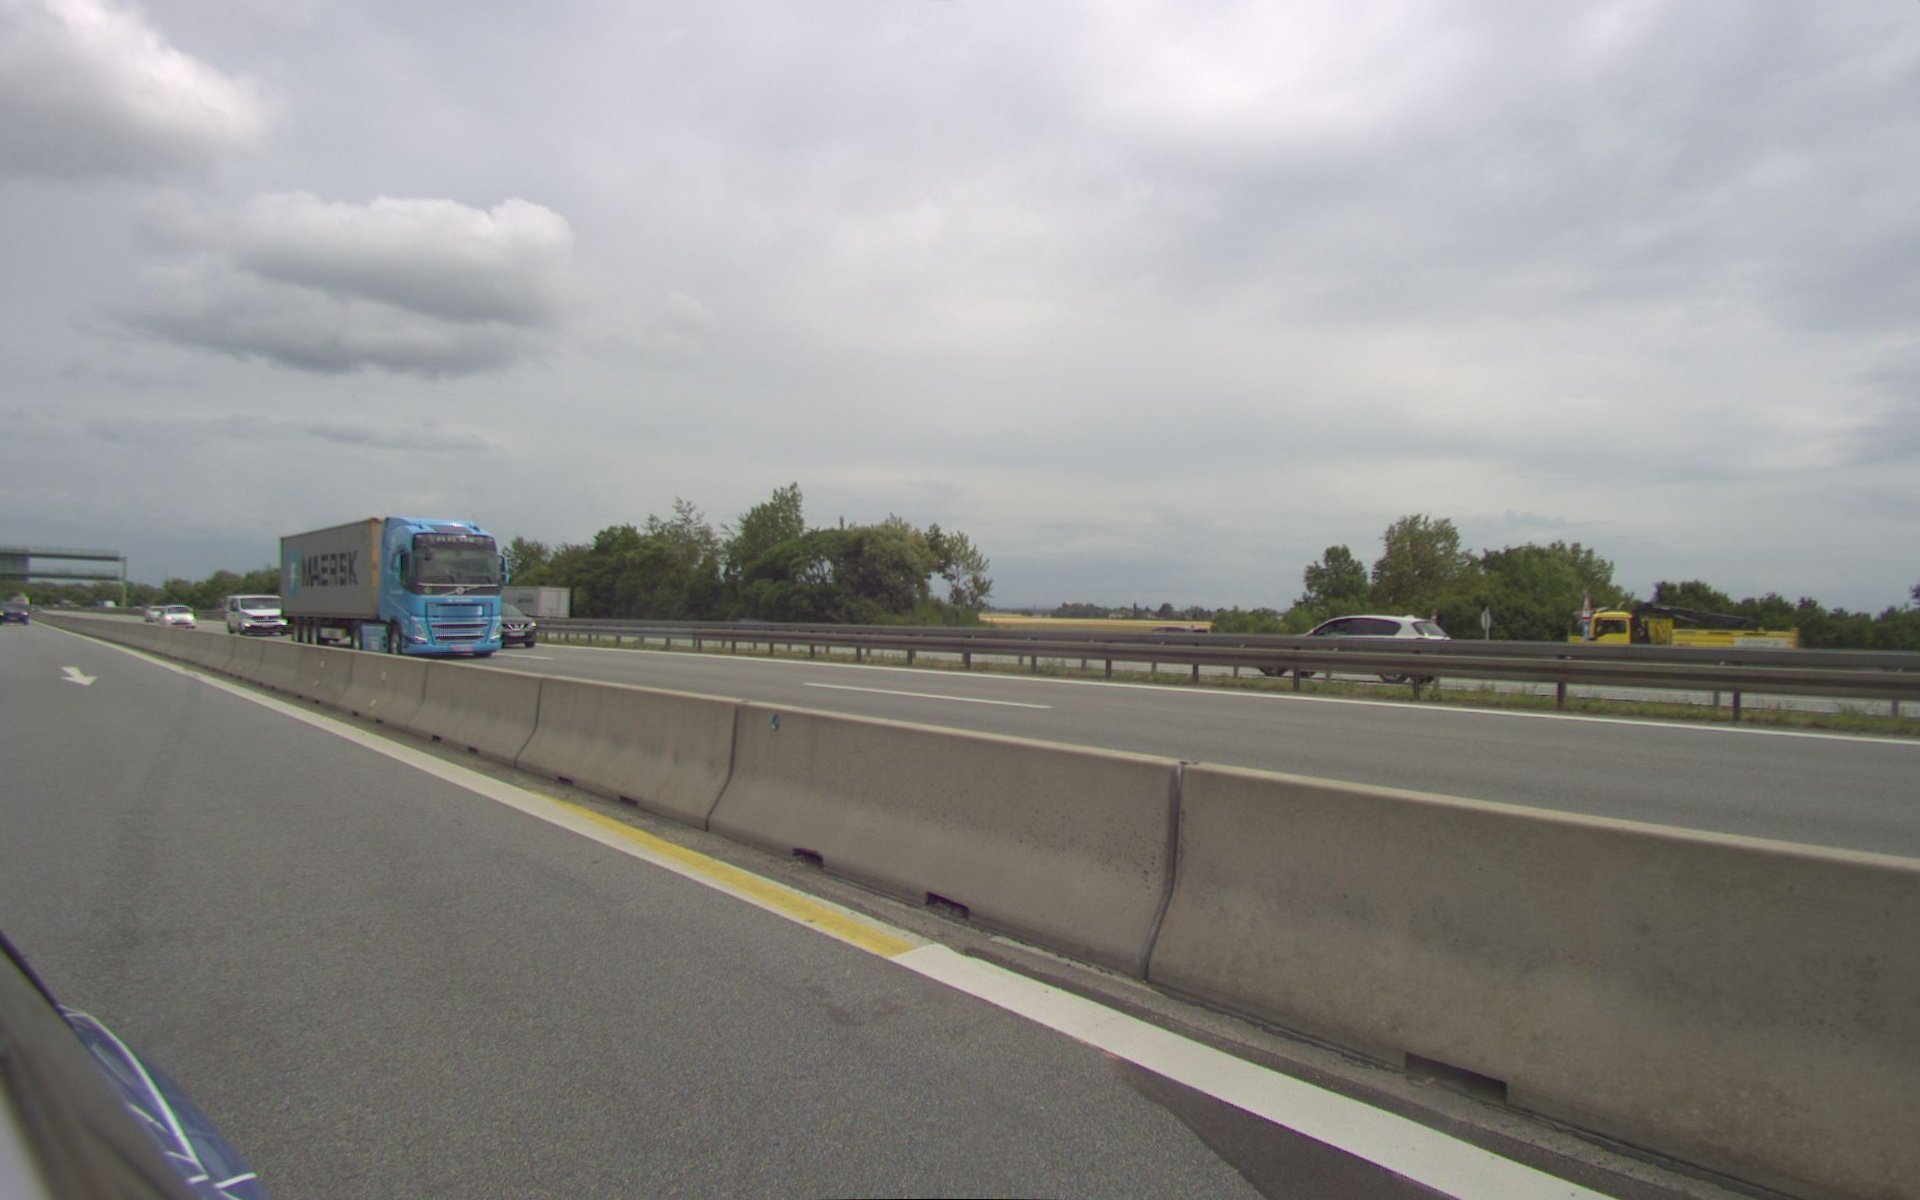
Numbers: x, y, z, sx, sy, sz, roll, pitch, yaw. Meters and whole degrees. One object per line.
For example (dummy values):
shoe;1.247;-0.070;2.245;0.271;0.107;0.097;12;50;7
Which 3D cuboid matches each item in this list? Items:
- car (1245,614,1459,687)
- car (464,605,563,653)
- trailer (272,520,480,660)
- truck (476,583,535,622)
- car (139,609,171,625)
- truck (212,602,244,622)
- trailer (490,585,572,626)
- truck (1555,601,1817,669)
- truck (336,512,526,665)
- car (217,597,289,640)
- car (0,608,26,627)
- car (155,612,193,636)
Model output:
car;8.517;1.032;22.175;3.997;1.434;1.873;0;-1;41
car;-15.898;0.982;35.933;1.870;1.610;4.422;0;-1;-43
trailer;-20.074;-0.285;34.208;3.198;3.954;12.390;0;0;-44
truck;-40.227;0.211;89.443;3.112;3.355;5.628;0;-1;-43
car;-72.909;1.496;91.604;4.207;1.379;1.732;0;-1;44
truck;-89.312;1.454;123.410;2.250;2.388;6.205;1;-1;-44
trailer;-36.205;0.484;85.182;3.160;3.294;9.833;1;-1;-43
truck;30.929;1.445;43.497;8.682;2.795;2.907;0;-1;10
truck;-15.546;-0.276;29.518;3.209;3.941;6.615;0;0;-44
car;-34.089;0.833;48.740;1.977;1.952;5.135;-1;1;-45
car;-75.236;1.354;80.049;4.002;1.453;1.840;0;-1;45
car;-50.646;1.508;65.156;1.660;1.496;3.779;0;-1;-42
